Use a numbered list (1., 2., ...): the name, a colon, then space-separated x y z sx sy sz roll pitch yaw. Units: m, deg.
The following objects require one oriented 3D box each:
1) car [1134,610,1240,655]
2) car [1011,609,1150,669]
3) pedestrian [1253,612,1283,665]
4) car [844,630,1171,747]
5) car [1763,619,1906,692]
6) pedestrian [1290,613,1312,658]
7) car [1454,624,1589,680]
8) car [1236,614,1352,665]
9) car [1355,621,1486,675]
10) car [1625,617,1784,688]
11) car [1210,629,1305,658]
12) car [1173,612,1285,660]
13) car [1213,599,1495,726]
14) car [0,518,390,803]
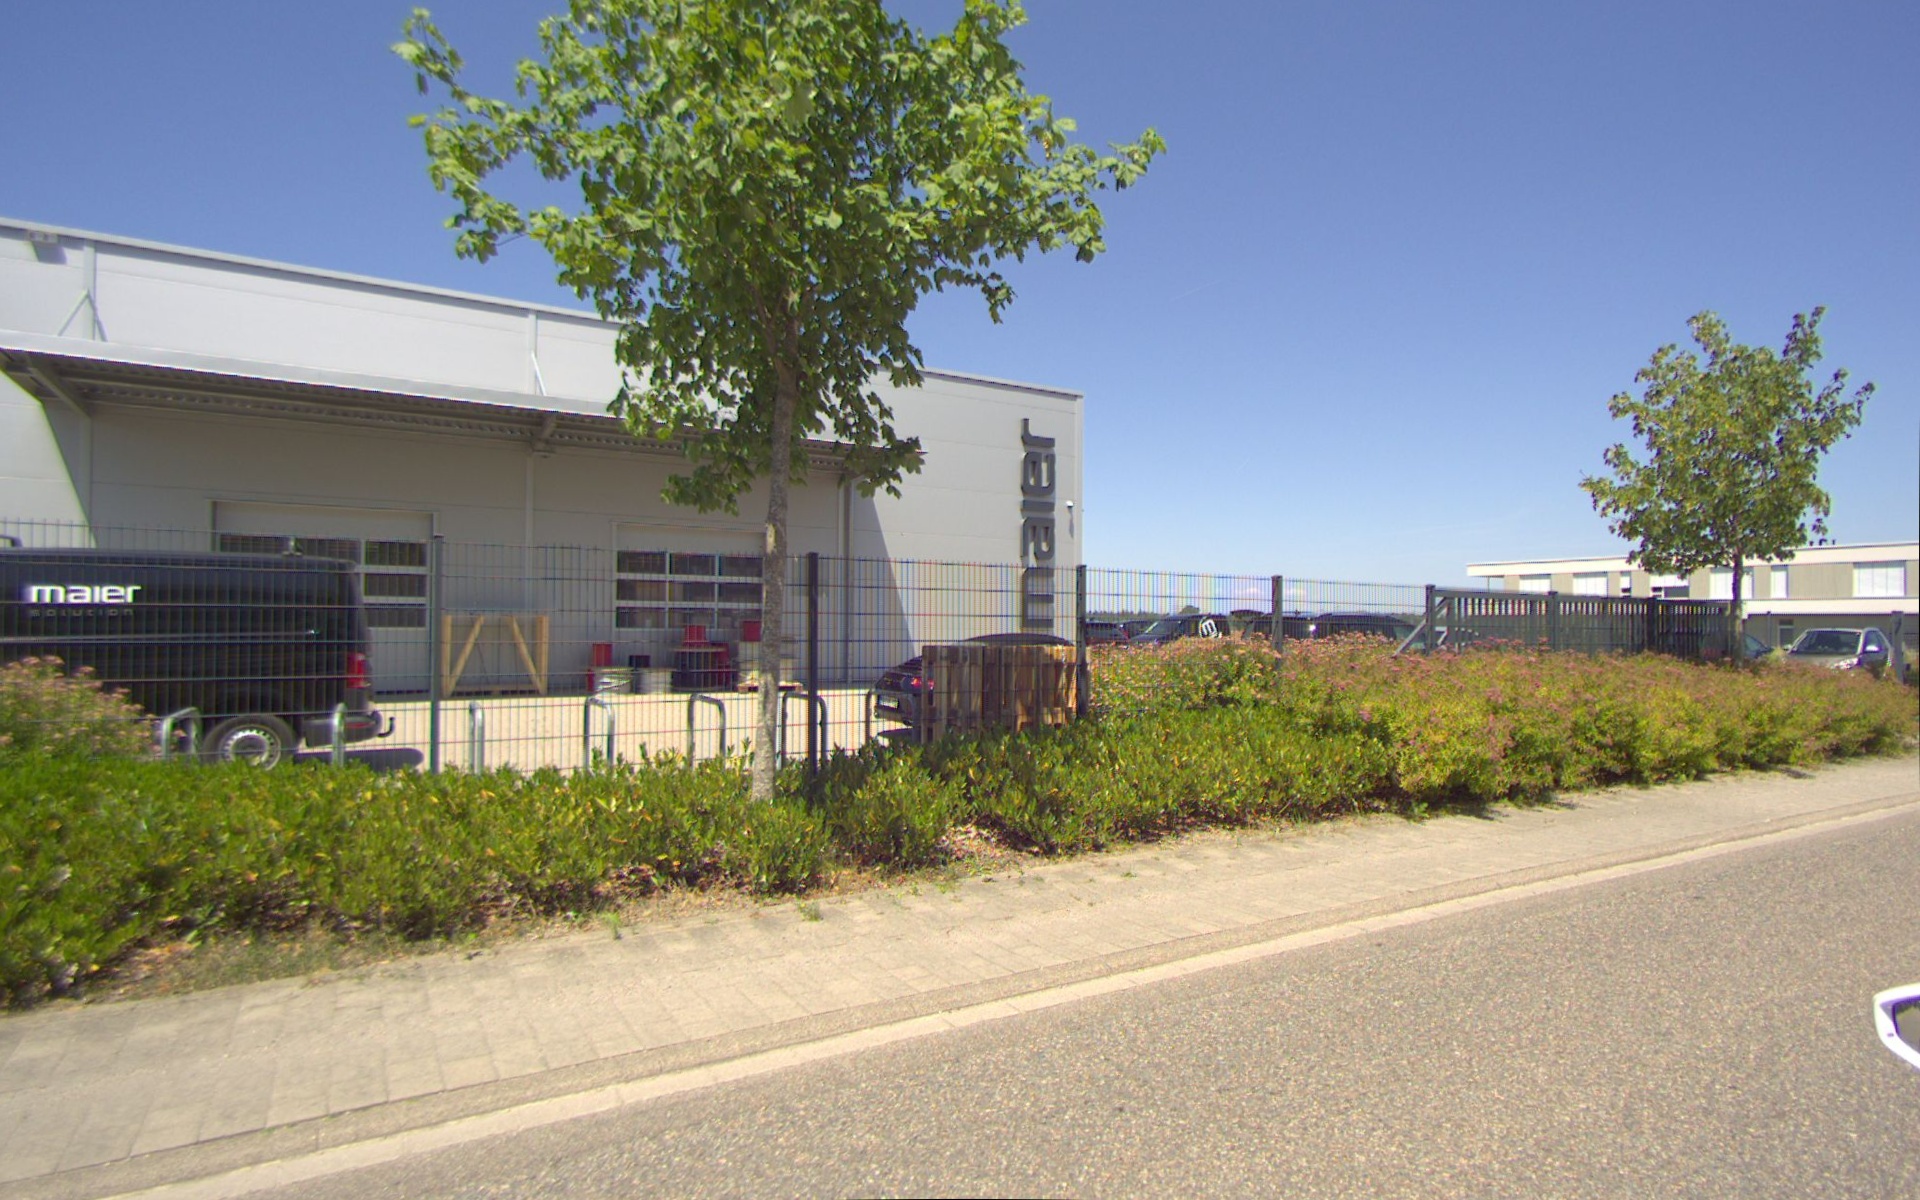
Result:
1. car: 8.592 1.203 37.925 3.957 1.627 1.662 1 -1 -33
2. car: 3.112 0.984 26.645 1.775 1.439 3.842 1 -1 -28
3. pedestrian: 9.783 1.221 31.916 0.770 1.650 0.613 1 -1 -44
4. car: 0.651 1.064 13.175 3.952 1.298 1.788 1 -1 -29
5. car: 19.677 1.202 22.598 2.965 1.540 1.690 1 -1 -33
6. pedestrian: 11.043 1.140 32.536 0.493 1.432 0.484 1 -1 -44
7. car: 15.612 1.401 27.875 3.957 1.459 1.662 1 -1 -33
8. car: 11.414 1.324 34.252 3.957 1.627 1.662 1 -1 -33
9. car: 13.493 1.368 29.387 3.957 1.459 1.662 1 -1 -33
10. car: 17.837 1.206 24.026 3.957 1.561 1.815 1 -1 -33
11. car: 12.297 1.772 41.488 3.719 1.149 1.815 1 -1 -33
12. car: 9.622 1.268 35.855 3.957 1.627 1.662 1 -1 -33
13. car: 6.165 0.913 15.673 4.041 1.746 1.985 1 -1 -29
14. car: -7.503 0.435 8.437 4.636 2.127 1.992 1 1 -29
